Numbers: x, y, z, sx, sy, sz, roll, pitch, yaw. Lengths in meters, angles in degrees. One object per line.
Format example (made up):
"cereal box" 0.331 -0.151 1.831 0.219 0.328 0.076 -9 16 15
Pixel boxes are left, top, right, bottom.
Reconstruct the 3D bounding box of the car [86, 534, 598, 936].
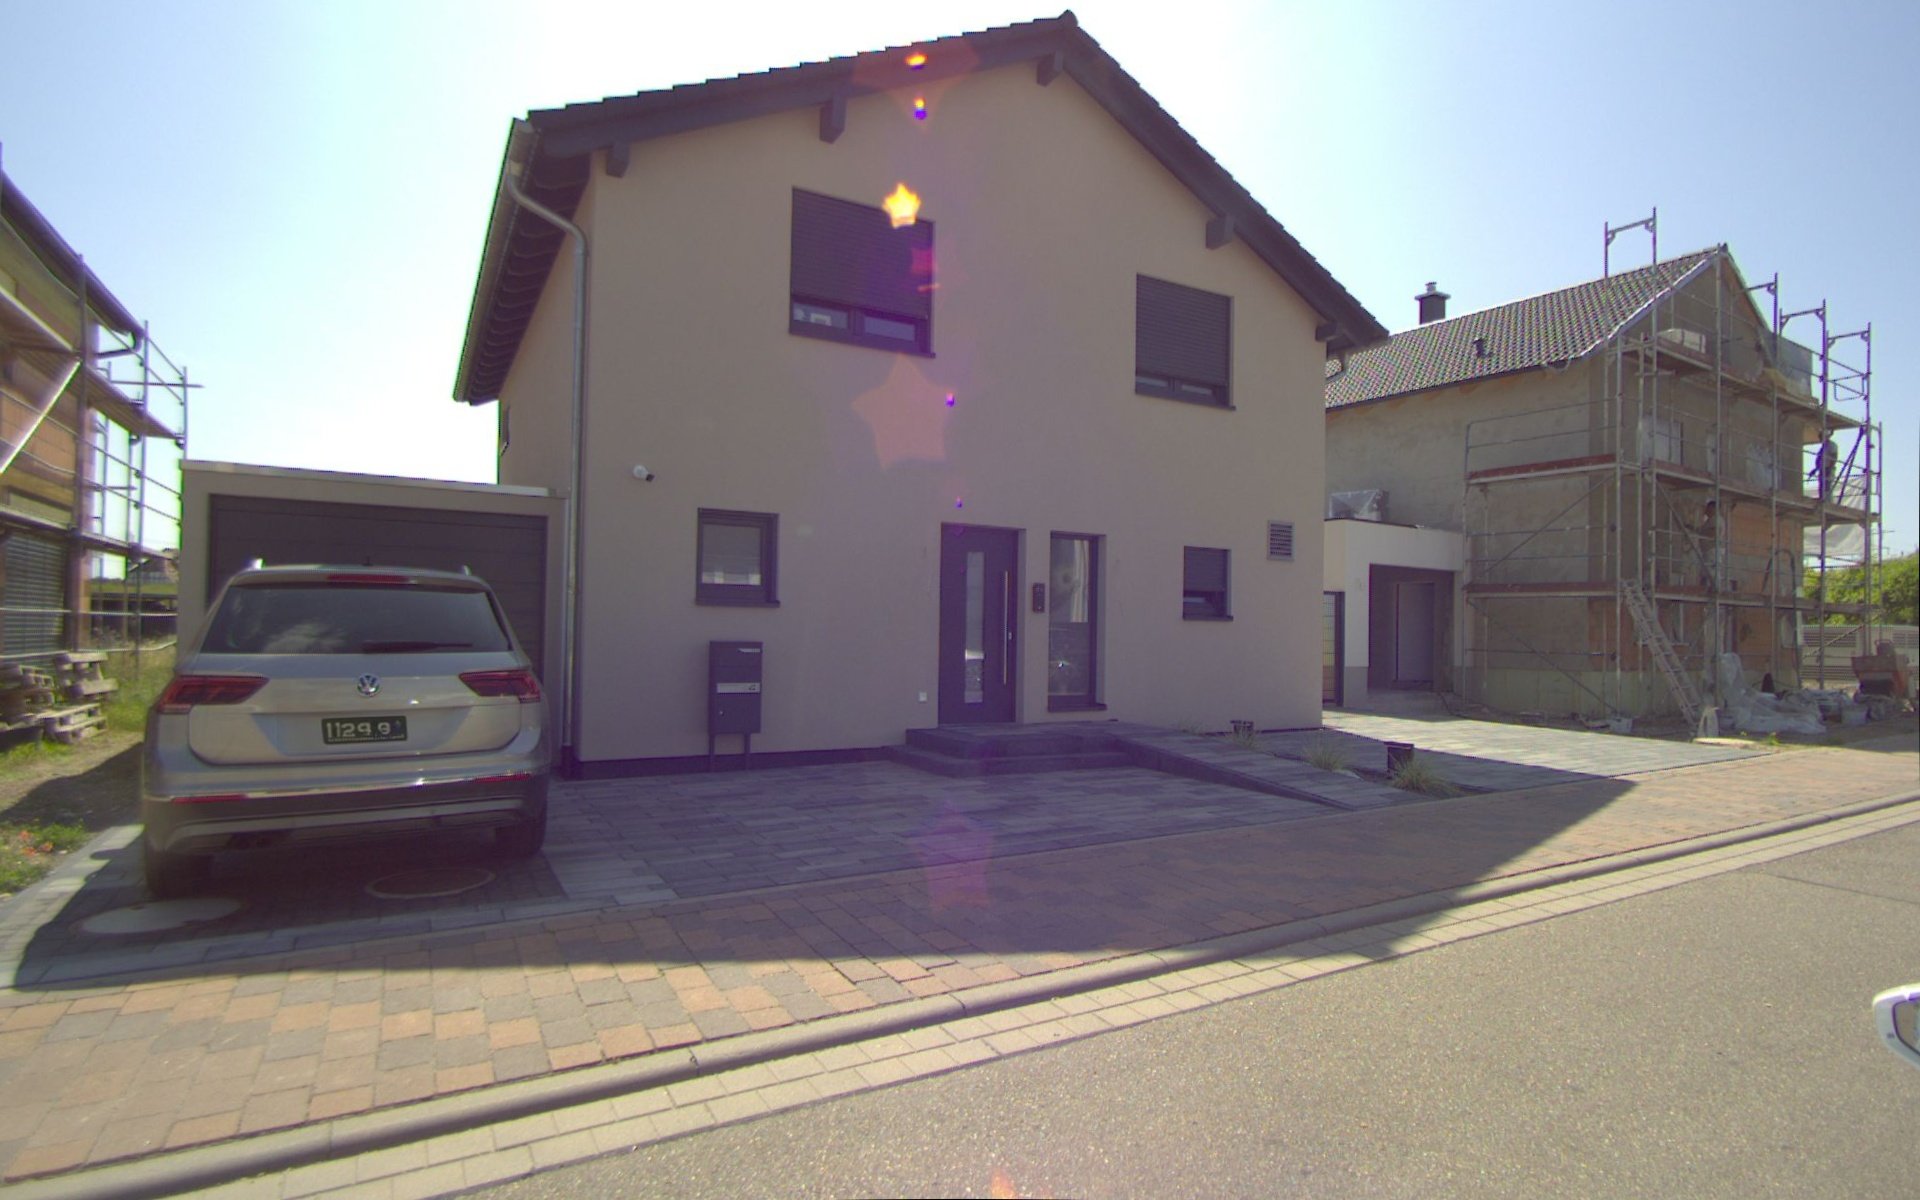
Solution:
"car" -3.854 0.622 6.500 1.978 1.633 4.401 1 -2 -32

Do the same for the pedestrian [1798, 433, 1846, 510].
"pedestrian" 18.563 -2.751 21.650 0.552 1.519 0.748 1 -3 21

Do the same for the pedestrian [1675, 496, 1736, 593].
"pedestrian" 13.587 -1.003 18.312 0.733 1.701 0.579 1 -3 16
